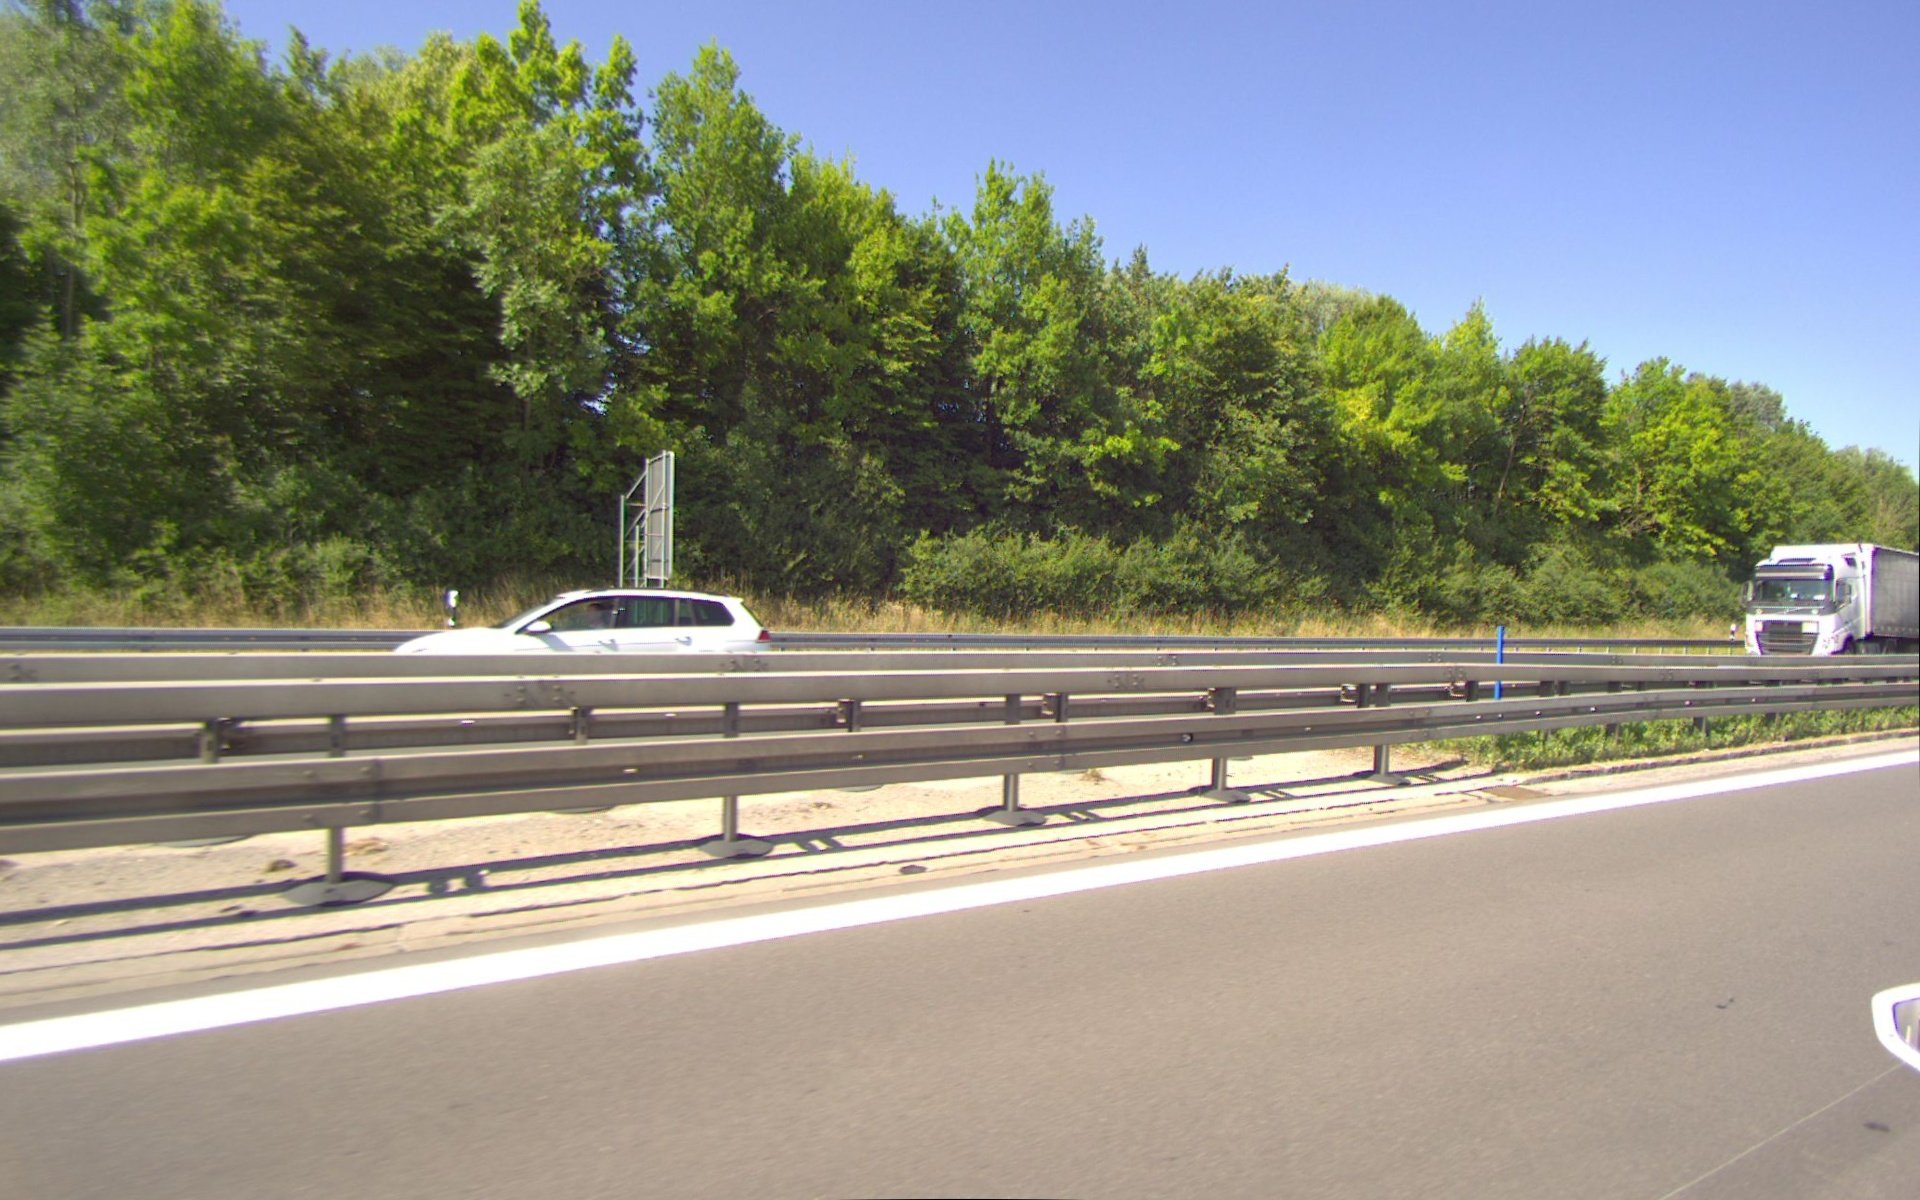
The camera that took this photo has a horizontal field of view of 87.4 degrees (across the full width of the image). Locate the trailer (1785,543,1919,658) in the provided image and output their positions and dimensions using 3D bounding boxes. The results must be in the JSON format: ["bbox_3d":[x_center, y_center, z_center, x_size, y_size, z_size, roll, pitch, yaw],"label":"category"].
[{"bbox_3d":[35.649,0.101,38.375,11.790,3.880,2.730,1,1,-32],"label":"trailer"}]

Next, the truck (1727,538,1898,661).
[{"bbox_3d":[29.094,0.015,34.253,5.846,3.880,2.730,1,1,-32],"label":"truck"}]

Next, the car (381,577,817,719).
[{"bbox_3d":[-4.423,0.546,12.636,4.919,1.503,1.677,1,1,-30],"label":"car"}]
